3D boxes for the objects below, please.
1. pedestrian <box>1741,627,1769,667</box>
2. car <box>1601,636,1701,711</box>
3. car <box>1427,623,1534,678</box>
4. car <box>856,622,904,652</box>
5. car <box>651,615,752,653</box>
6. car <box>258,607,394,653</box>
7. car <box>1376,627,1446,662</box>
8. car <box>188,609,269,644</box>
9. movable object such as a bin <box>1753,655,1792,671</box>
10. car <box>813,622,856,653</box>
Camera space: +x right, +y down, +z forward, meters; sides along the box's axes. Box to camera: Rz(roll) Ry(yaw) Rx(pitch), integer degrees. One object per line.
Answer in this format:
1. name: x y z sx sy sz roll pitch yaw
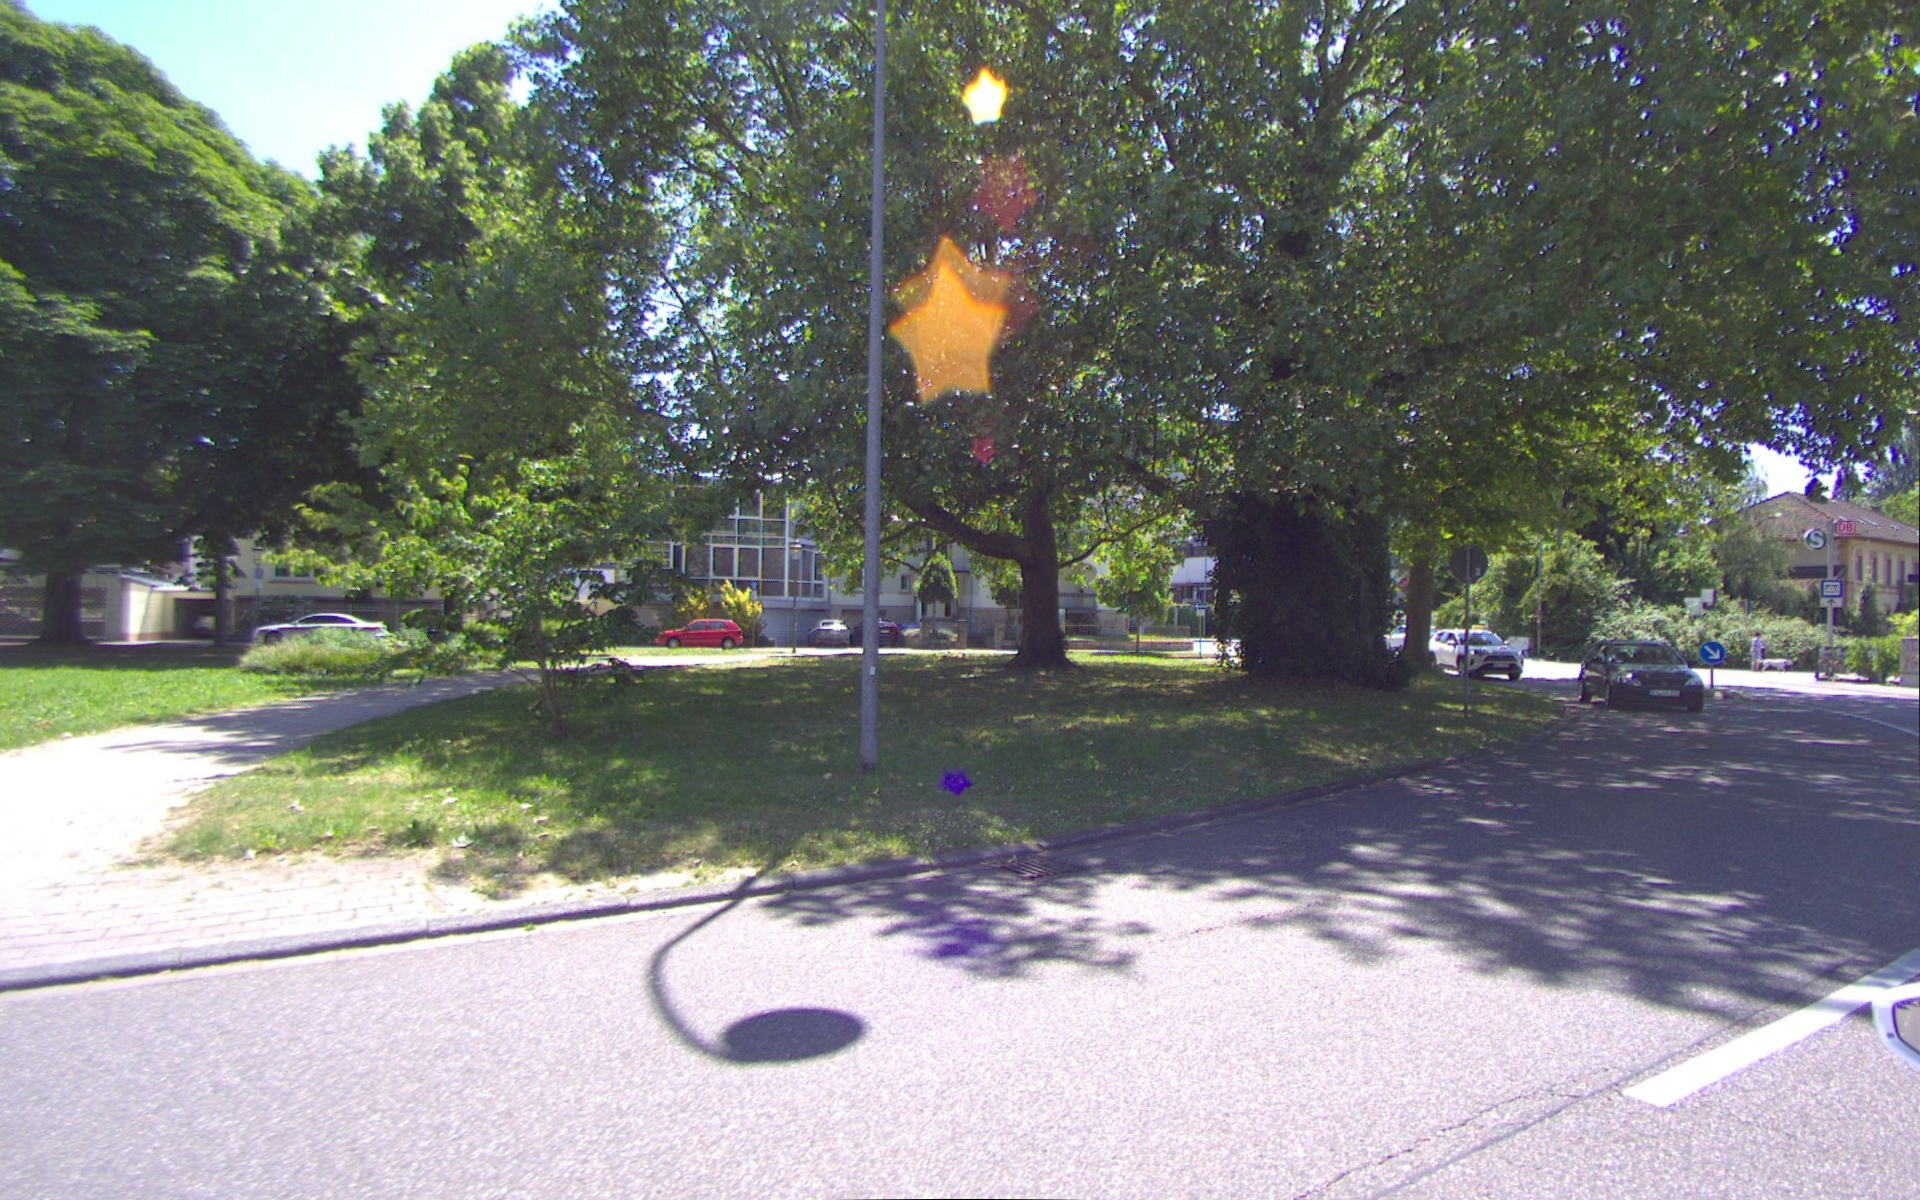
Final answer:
1. pedestrian: 34.016 2.006 42.992 0.604 1.649 0.700 1 1 4
2. car: 14.873 1.505 21.635 1.619 1.436 3.987 -1 -2 35
3. car: 17.980 1.726 34.965 2.008 1.770 4.326 -1 -2 9
4. car: -4.385 1.996 54.664 1.966 1.445 3.989 2 -1 -14
5. car: -12.039 1.563 46.742 4.435 1.639 1.992 2 -1 -18
6. car: -26.785 1.273 42.579 4.433 1.802 1.993 2 -1 -16
7. car: 24.237 2.377 54.122 1.904 1.635 4.474 6 -2 4
8. car: -35.658 1.258 49.090 1.968 1.606 3.985 2 -1 -17
9. movable object such as a bin: 34.070 2.644 42.129 1.218 0.602 0.517 1 -1 0
10. car: -6.663 1.937 52.908 1.848 1.453 3.991 2 -1 -12
